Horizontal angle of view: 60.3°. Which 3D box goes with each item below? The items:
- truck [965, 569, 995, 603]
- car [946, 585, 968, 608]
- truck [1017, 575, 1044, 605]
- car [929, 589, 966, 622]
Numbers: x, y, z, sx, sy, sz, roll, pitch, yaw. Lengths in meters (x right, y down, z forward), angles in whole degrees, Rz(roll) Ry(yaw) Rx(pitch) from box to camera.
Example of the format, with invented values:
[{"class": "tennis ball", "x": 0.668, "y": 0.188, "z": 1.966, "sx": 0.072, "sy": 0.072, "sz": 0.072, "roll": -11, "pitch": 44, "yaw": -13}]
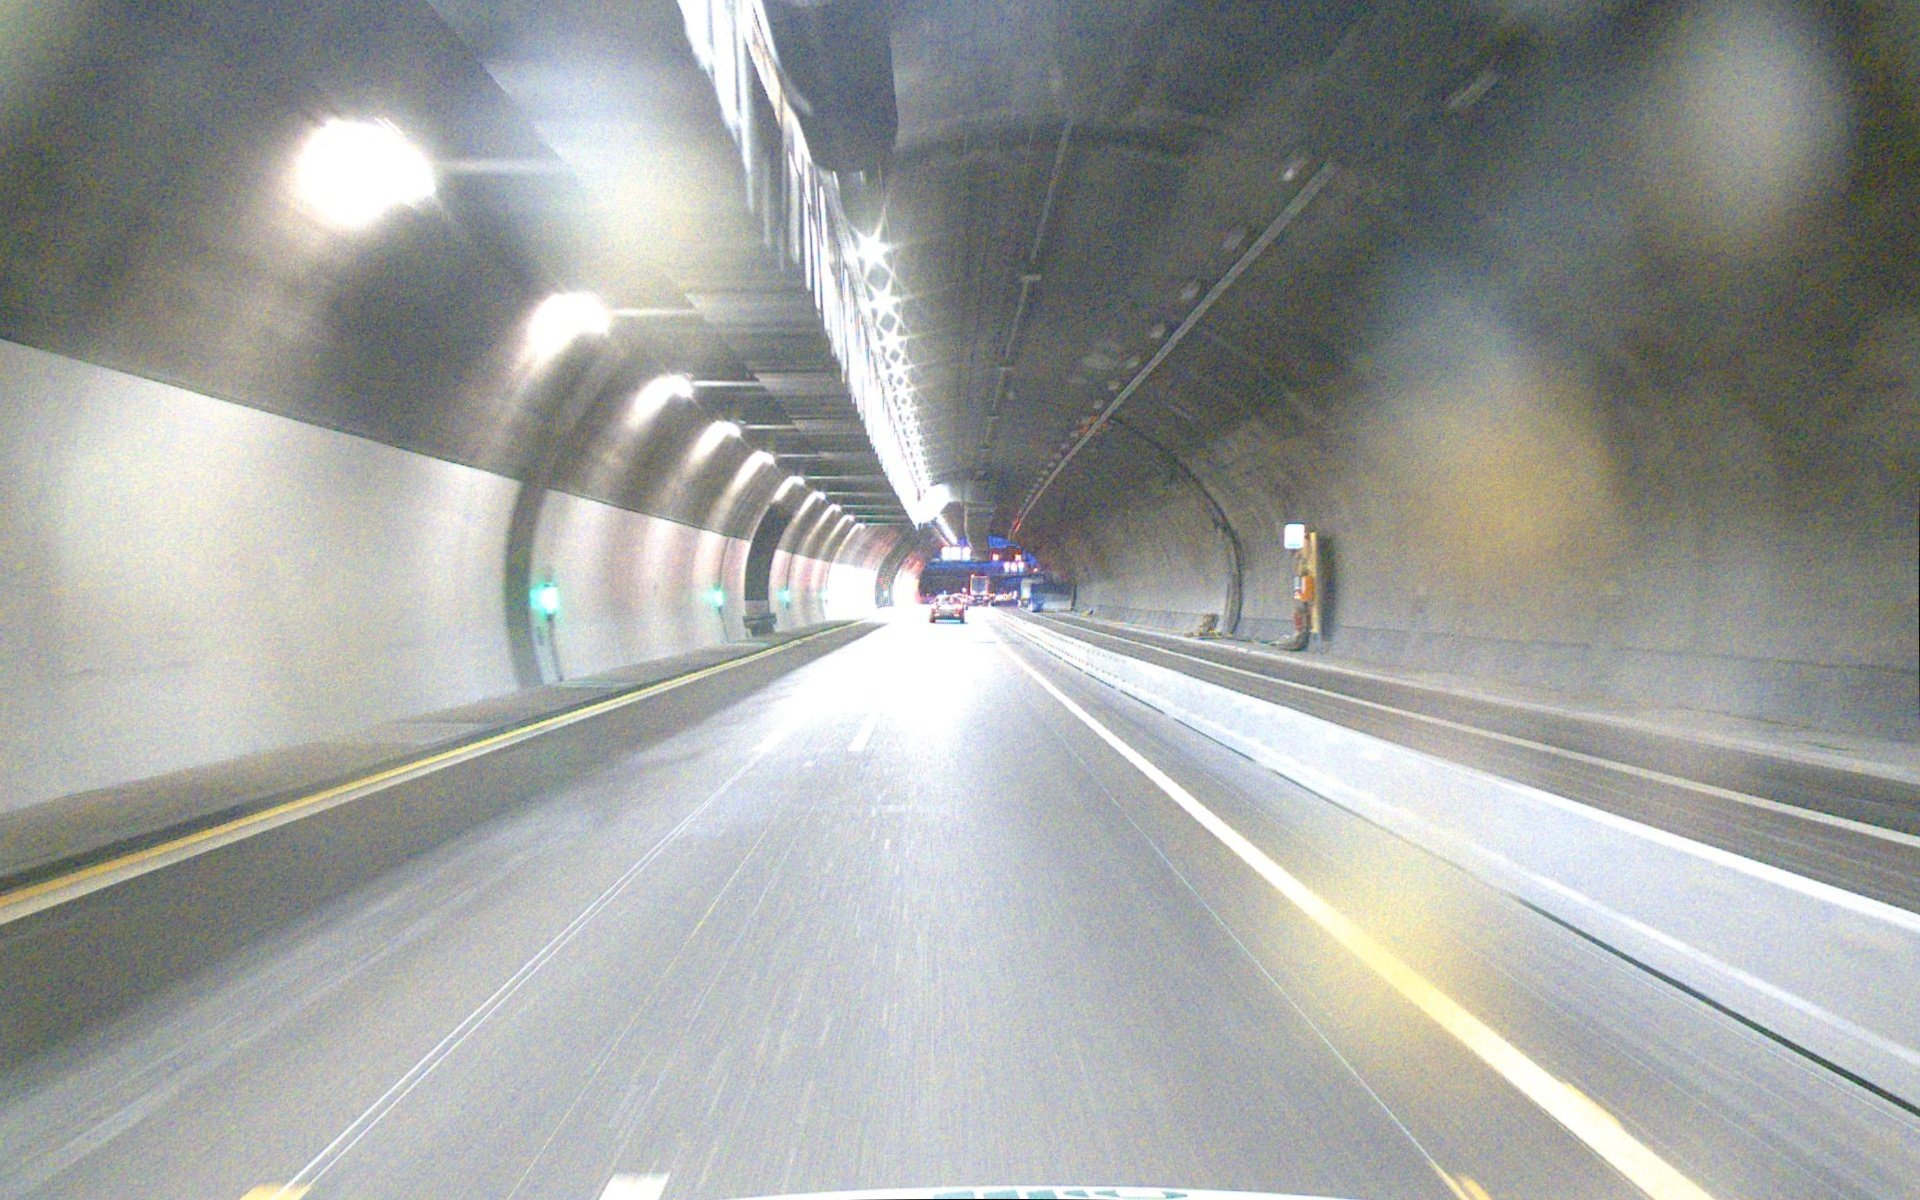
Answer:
[{"class": "truck", "x": 3.131, "y": -2.168, "z": 255.254, "sx": 4.452, "sy": 5.074, "sz": 9.599, "roll": 1, "pitch": 0, "yaw": 1}, {"class": "car", "x": -0.258, "y": -0.328, "z": 153.198, "sx": 1.953, "sy": 2.049, "sz": 3.999, "roll": 0, "pitch": 0, "yaw": -1}, {"class": "truck", "x": 8.077, "y": -1.069, "z": 190.915, "sx": 2.832, "sy": 3.329, "sz": 8.402, "roll": 1, "pitch": 0, "yaw": 1}, {"class": "car", "x": -0.678, "y": 0.291, "z": 87.283, "sx": 1.850, "sy": 1.635, "sz": 3.998, "roll": 1, "pitch": 0, "yaw": -2}]
